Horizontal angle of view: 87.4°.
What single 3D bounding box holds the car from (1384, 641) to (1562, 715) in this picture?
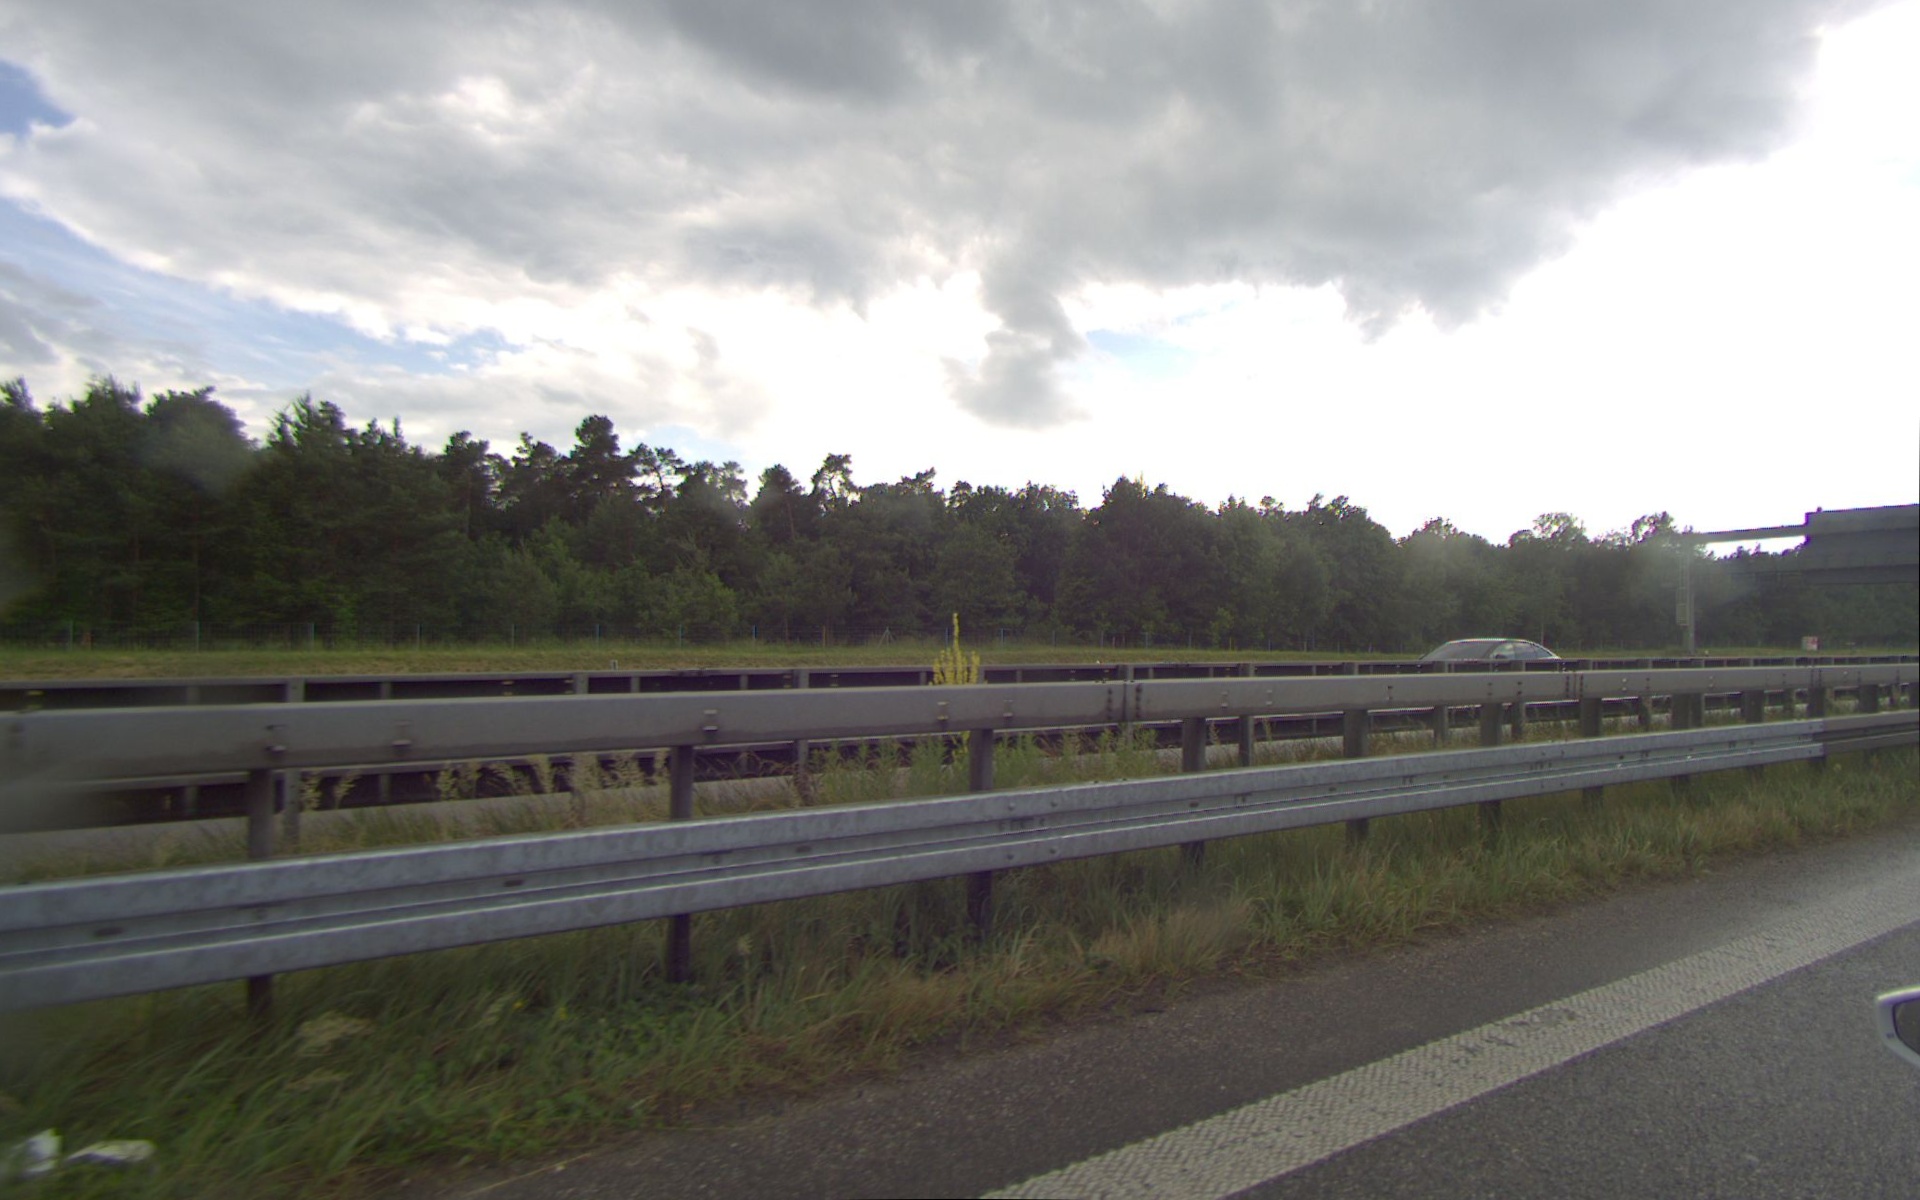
[{"bbox_3d":[11.635,1.694,22.727,4.094,1.469,1.748,1,-1,-32],"label":"car"}]
